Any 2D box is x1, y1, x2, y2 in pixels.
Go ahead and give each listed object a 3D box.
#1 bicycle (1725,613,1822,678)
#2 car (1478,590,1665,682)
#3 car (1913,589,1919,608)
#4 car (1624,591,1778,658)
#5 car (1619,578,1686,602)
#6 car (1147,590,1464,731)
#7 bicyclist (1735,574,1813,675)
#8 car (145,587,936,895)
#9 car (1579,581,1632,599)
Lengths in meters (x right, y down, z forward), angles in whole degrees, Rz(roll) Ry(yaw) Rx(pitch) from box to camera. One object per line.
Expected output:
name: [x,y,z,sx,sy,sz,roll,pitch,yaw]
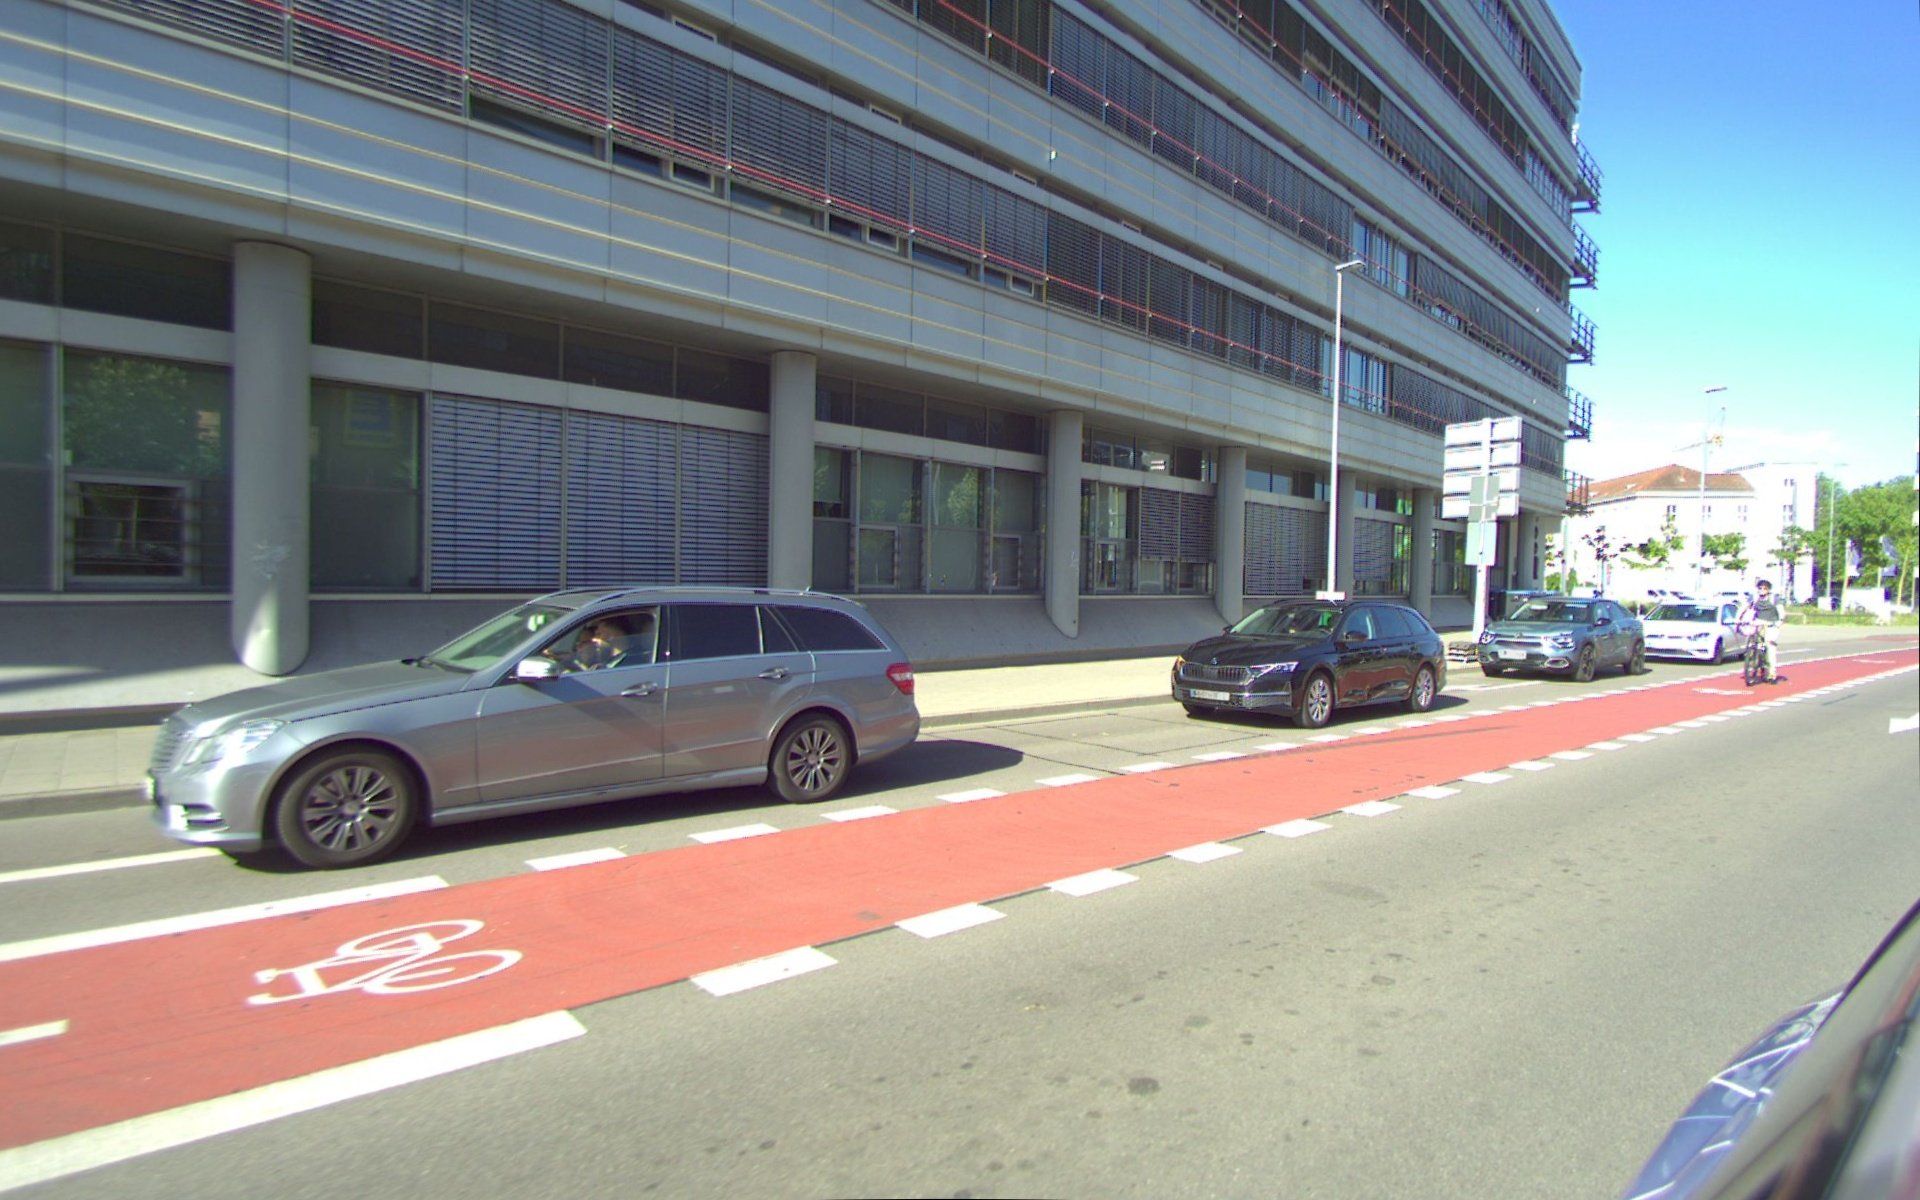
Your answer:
bicycle: [14.319,0.776,17.800,1.855,1.050,0.828,0,0,-34]
car: [11.716,0.599,19.269,4.320,1.543,1.725,0,1,-40]
car: [73.035,-0.056,74.054,1.803,1.448,4.493,-1,2,-24]
car: [17.346,0.526,23.617,4.214,1.421,1.777,0,0,-37]
car: [61.736,-0.887,90.280,1.835,2.006,4.666,0,2,-20]
car: [4.471,0.617,12.714,4.556,1.440,1.725,0,2,-41]
bicyclist: [14.430,0.415,17.934,1.031,1.714,0.809,0,0,-34]
car: [-2.545,0.643,6.911,4.702,1.413,1.725,0,2,-40]
car: [62.425,-0.966,97.957,1.835,1.575,4.009,0,2,-20]
